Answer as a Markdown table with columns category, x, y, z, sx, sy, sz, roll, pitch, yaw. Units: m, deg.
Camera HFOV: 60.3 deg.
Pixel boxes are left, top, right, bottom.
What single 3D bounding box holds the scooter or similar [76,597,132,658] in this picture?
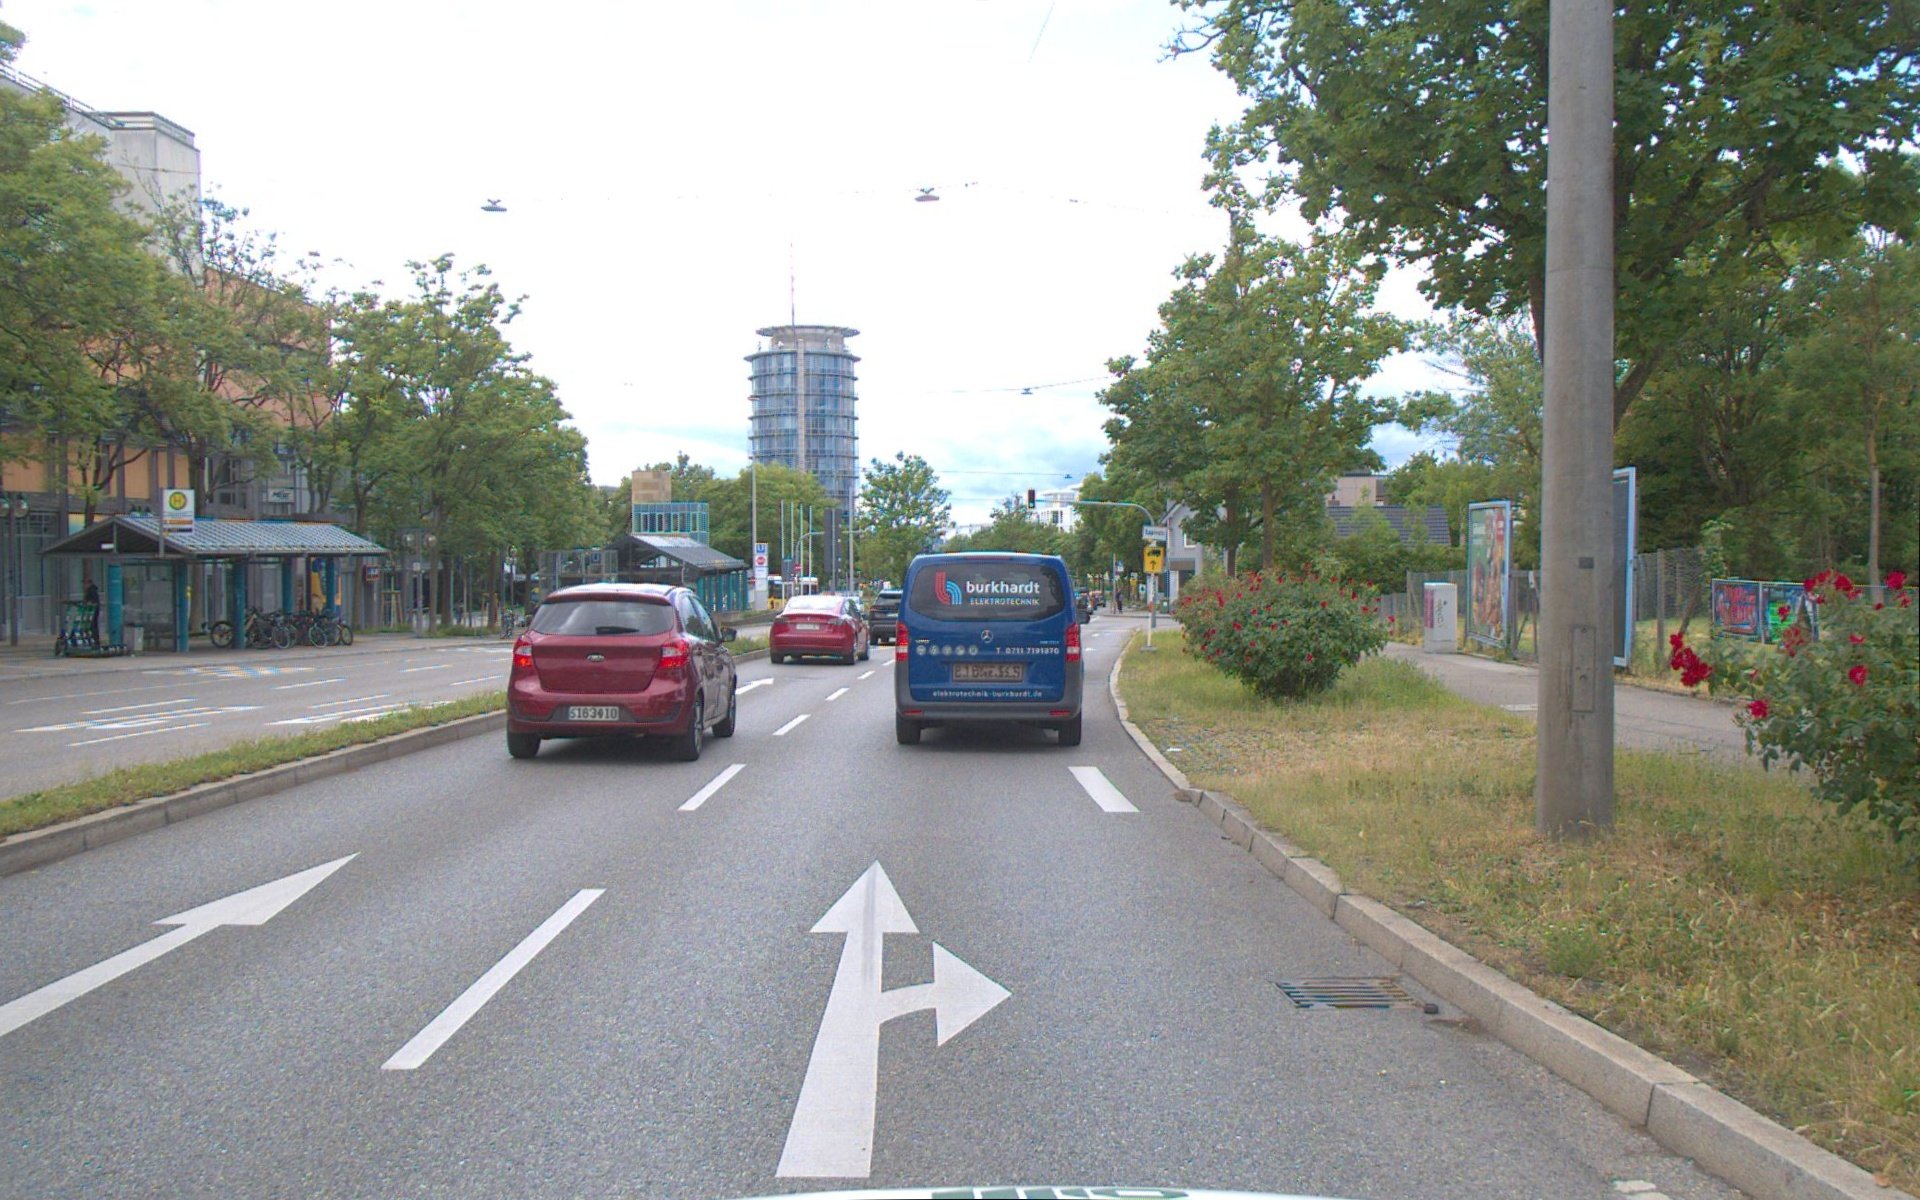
| category | x | y | z | sx | sy | sz | roll | pitch | yaw |
| --- | --- | --- | --- | --- | --- | --- | --- | --- | --- |
| scooter or similar | -20.071 | 0.647 | 38.793 | 1.177 | 1.409 | 0.222 | -1 | 0 | -1 |

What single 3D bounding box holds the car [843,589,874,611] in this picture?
| category | x | y | z | sx | sy | sz | roll | pitch | yaw |
| --- | --- | --- | --- | --- | --- | --- | --- | --- | --- |
| car | -7.510 | 0.016 | 123.046 | 1.589 | 1.601 | 4.003 | -1 | 0 | 7 |

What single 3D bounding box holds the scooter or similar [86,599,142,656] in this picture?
| category | x | y | z | sx | sy | sz | roll | pitch | yaw |
| --- | --- | --- | --- | --- | --- | --- | --- | --- | --- |
| scooter or similar | -20.128 | 0.644 | 39.360 | 1.177 | 1.343 | 0.259 | -1 | 0 | -1 |

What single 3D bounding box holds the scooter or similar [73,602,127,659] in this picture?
| category | x | y | z | sx | sy | sz | roll | pitch | yaw |
| --- | --- | --- | --- | --- | --- | --- | --- | --- | --- |
| scooter or similar | -20.026 | 0.708 | 38.520 | 1.104 | 1.318 | 0.268 | -1 | 0 | -2 |

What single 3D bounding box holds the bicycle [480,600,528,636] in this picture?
| category | x | y | z | sx | sy | sz | roll | pitch | yaw |
| --- | --- | --- | --- | --- | --- | --- | --- | --- | --- |
| bicycle | -17.280 | 0.665 | 62.777 | 1.030 | 1.293 | 2.426 | 2 | 0 | 2 |

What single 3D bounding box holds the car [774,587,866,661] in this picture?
| category | x | y | z | sx | sy | sz | roll | pitch | yaw |
| --- | --- | --- | --- | --- | --- | --- | --- | --- | --- |
| car | -3.012 | 0.509 | 36.256 | 1.831 | 1.512 | 3.998 | -1 | 0 | -2 |

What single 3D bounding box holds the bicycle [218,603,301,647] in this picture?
| category | x | y | z | sx | sy | sz | roll | pitch | yaw |
| --- | --- | --- | --- | --- | --- | --- | --- | --- | --- |
| bicycle | -19.905 | 0.701 | 47.027 | 2.027 | 1.173 | 0.710 | 2 | 0 | -10 |

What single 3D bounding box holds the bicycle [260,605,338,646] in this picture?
| category | x | y | z | sx | sy | sz | roll | pitch | yaw |
| --- | --- | --- | --- | --- | --- | --- | --- | --- | --- |
| bicycle | -19.638 | 0.759 | 49.171 | 2.027 | 1.173 | 0.710 | 1 | 0 | -10 |

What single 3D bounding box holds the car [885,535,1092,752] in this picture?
| category | x | y | z | sx | sy | sz | roll | pitch | yaw |
| --- | --- | --- | --- | --- | --- | --- | --- | --- | --- |
| car | 0.358 | 0.397 | 17.619 | 1.907 | 2.000 | 4.543 | 0 | 0 | 2 |

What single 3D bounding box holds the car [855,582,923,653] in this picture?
| category | x | y | z | sx | sy | sz | roll | pitch | yaw |
| --- | --- | --- | --- | --- | --- | --- | --- | --- | --- |
| car | -2.157 | 0.528 | 50.499 | 1.953 | 2.049 | 3.998 | 1 | -1 | -2 |

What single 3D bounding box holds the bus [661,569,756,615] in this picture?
| category | x | y | z | sx | sy | sz | roll | pitch | yaw |
| --- | --- | --- | --- | --- | --- | --- | --- | --- | --- |
| bus | -18.268 | -0.568 | 121.210 | 2.894 | 3.188 | 12.170 | 0 | 0 | 11 |

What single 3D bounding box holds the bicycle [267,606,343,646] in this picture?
| category | x | y | z | sx | sy | sz | roll | pitch | yaw |
| --- | --- | --- | --- | --- | --- | --- | --- | --- | --- |
| bicycle | -20.007 | 0.798 | 50.561 | 2.027 | 1.173 | 0.710 | -1 | 0 | -10 |

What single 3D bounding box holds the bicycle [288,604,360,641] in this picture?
| category | x | y | z | sx | sy | sz | roll | pitch | yaw |
| --- | --- | --- | --- | --- | --- | --- | --- | --- | --- |
| bicycle | -20.215 | 0.722 | 52.589 | 2.027 | 1.173 | 0.710 | 0 | 0 | -10 |

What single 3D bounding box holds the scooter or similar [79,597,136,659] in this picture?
| category | x | y | z | sx | sy | sz | roll | pitch | yaw |
| --- | --- | --- | --- | --- | --- | --- | --- | --- | --- |
| scooter or similar | -20.127 | 0.658 | 39.062 | 1.177 | 1.448 | 0.259 | -1 | 0 | -1 |

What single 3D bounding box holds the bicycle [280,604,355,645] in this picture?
| category | x | y | z | sx | sy | sz | roll | pitch | yaw |
| --- | --- | --- | --- | --- | --- | --- | --- | --- | --- |
| bicycle | -20.028 | 0.774 | 51.582 | 2.027 | 1.173 | 0.710 | 3 | -1 | -10 |

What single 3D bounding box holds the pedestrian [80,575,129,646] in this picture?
| category | x | y | z | sx | sy | sz | roll | pitch | yaw |
| --- | --- | --- | --- | --- | --- | --- | --- | --- | --- |
| pedestrian | -22.277 | 0.271 | 43.090 | 0.717 | 1.812 | 0.997 | -1 | 0 | 2 |

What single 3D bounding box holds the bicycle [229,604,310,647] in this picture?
| category | x | y | z | sx | sy | sz | roll | pitch | yaw |
| --- | --- | --- | --- | --- | --- | --- | --- | --- | --- |
| bicycle | -20.091 | 0.741 | 48.169 | 2.027 | 1.173 | 0.710 | 2 | 0 | -10 |

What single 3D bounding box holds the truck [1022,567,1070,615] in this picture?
| category | x | y | z | sx | sy | sz | roll | pitch | yaw |
| --- | --- | --- | --- | --- | --- | --- | --- | --- | --- |
| truck | 4.227 | -0.425 | 80.512 | 1.951 | 2.203 | 5.563 | 2 | 0 | 7 |

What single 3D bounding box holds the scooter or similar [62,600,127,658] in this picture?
| category | x | y | z | sx | sy | sz | roll | pitch | yaw |
| --- | --- | --- | --- | --- | --- | --- | --- | --- | --- |
| scooter or similar | -19.970 | 0.668 | 38.160 | 1.294 | 1.292 | 0.339 | 1 | 0 | -1 |

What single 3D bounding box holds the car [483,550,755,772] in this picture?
| category | x | y | z | sx | sy | sz | roll | pitch | yaw |
| --- | --- | --- | --- | --- | --- | --- | --- | --- | --- |
| car | -3.073 | 0.502 | 15.701 | 1.711 | 1.753 | 3.999 | 3 | 0 | -1 |
